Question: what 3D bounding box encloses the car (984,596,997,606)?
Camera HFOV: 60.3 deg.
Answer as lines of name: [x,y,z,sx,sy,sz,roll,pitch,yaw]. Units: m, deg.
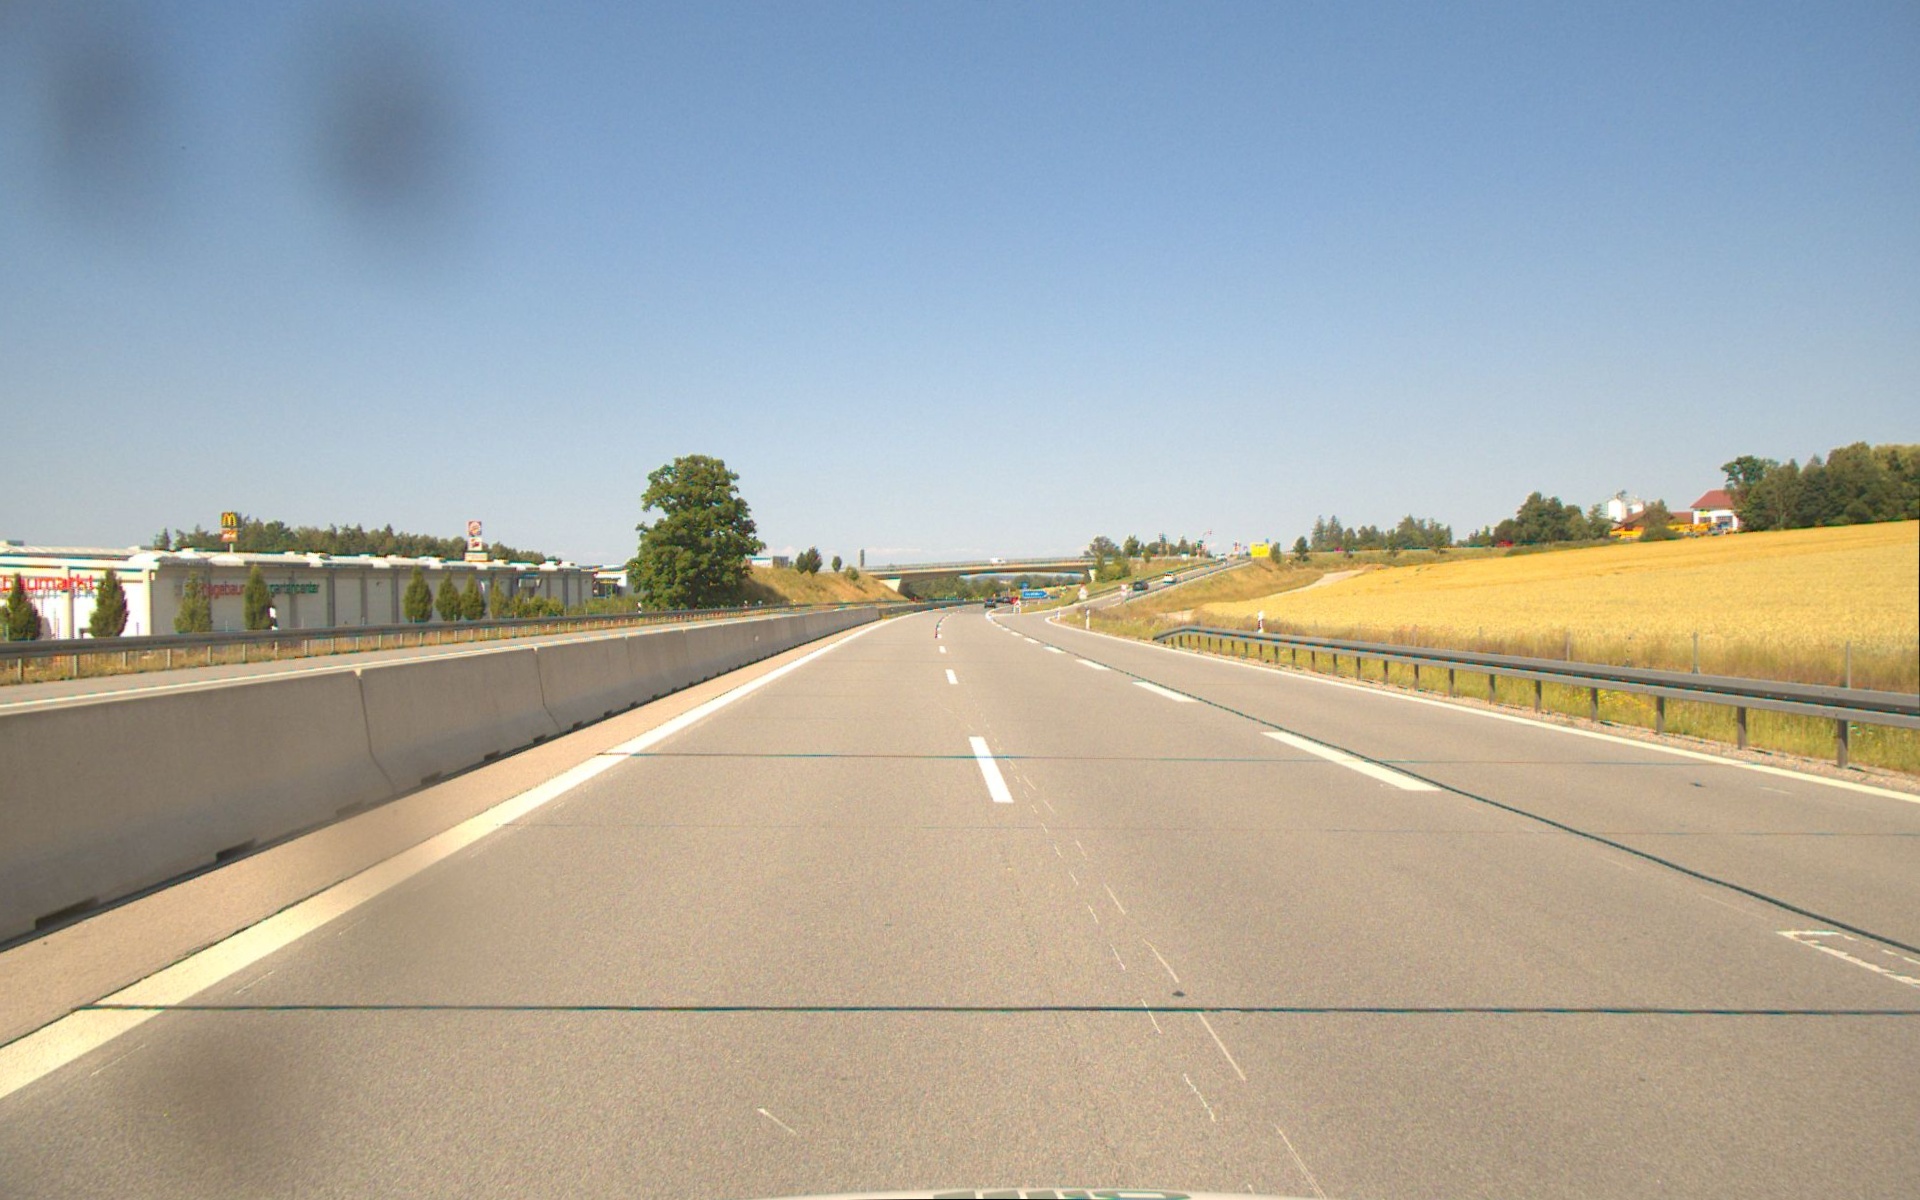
car: [4.763,0.171,255.338,1.952,1.445,4.001,-2,0,2]
